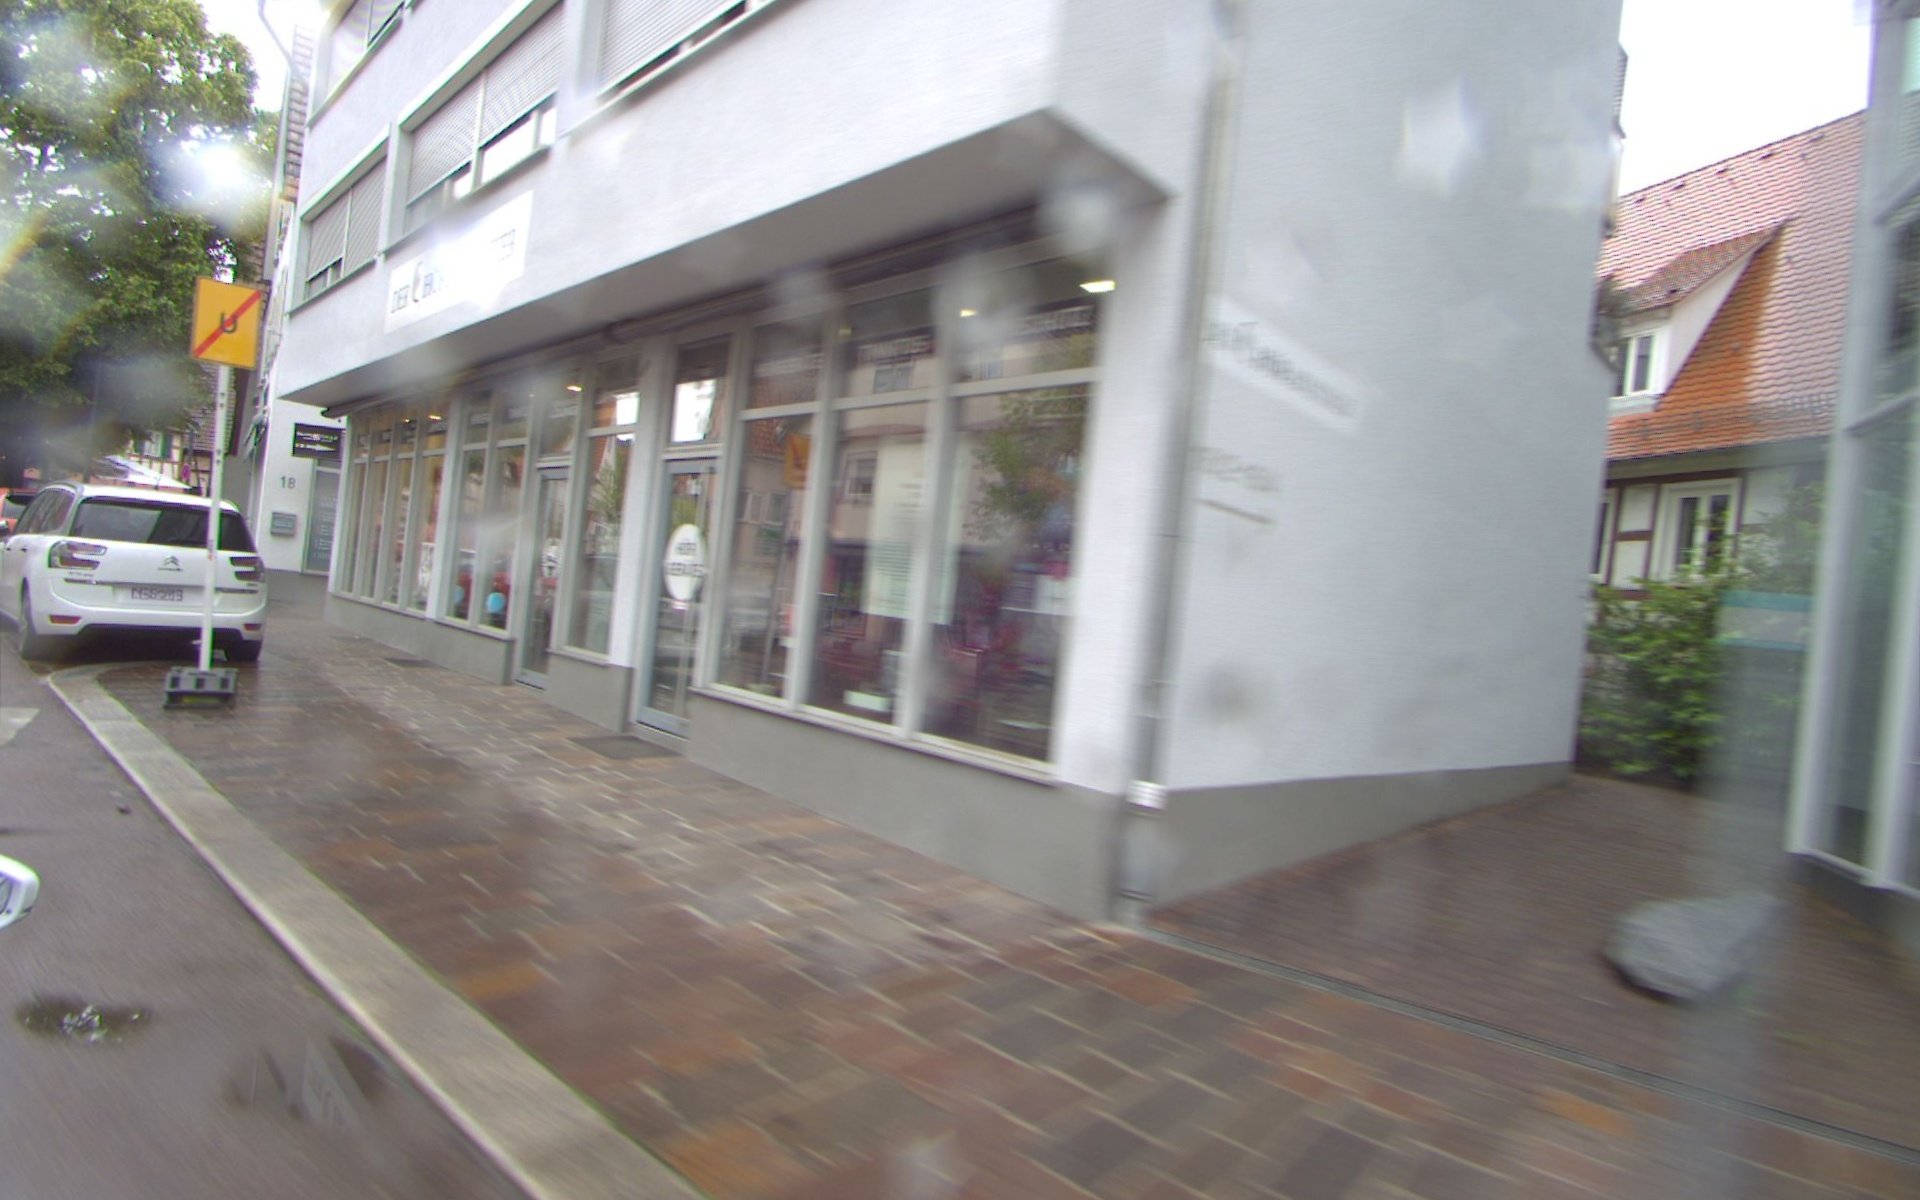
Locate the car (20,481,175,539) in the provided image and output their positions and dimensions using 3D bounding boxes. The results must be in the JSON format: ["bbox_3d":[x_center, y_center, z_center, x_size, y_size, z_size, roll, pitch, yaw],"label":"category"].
[{"bbox_3d":[-35.776,-3.675,41.930,1.962,1.653,4.617,8,0,9],"label":"car"}]

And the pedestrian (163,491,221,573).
[{"bbox_3d":[-17.591,-1.535,23.063,0.880,1.733,0.881,7,-2,-36],"label":"pedestrian"}]

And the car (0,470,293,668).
[{"bbox_3d":[-8.809,-0.373,10.515,4.376,1.619,1.785,6,0,40],"label":"car"}]

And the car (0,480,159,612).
[{"bbox_3d":[-12.852,-0.757,14.110,3.896,1.485,1.785,4,-3,42],"label":"car"}]

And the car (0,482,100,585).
[{"bbox_3d":[-17.014,-1.262,18.132,3.896,1.575,1.784,6,0,43],"label":"car"}]

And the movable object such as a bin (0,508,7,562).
[{"bbox_3d":[-19.881,-1.364,20.322,0.595,1.095,0.726,5,-2,33],"label":"movable object such as a bin"}]

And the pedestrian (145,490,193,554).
[{"bbox_3d":[-22.974,-2.237,29.224,0.903,1.720,0.854,5,0,-32],"label":"pedestrian"}]
